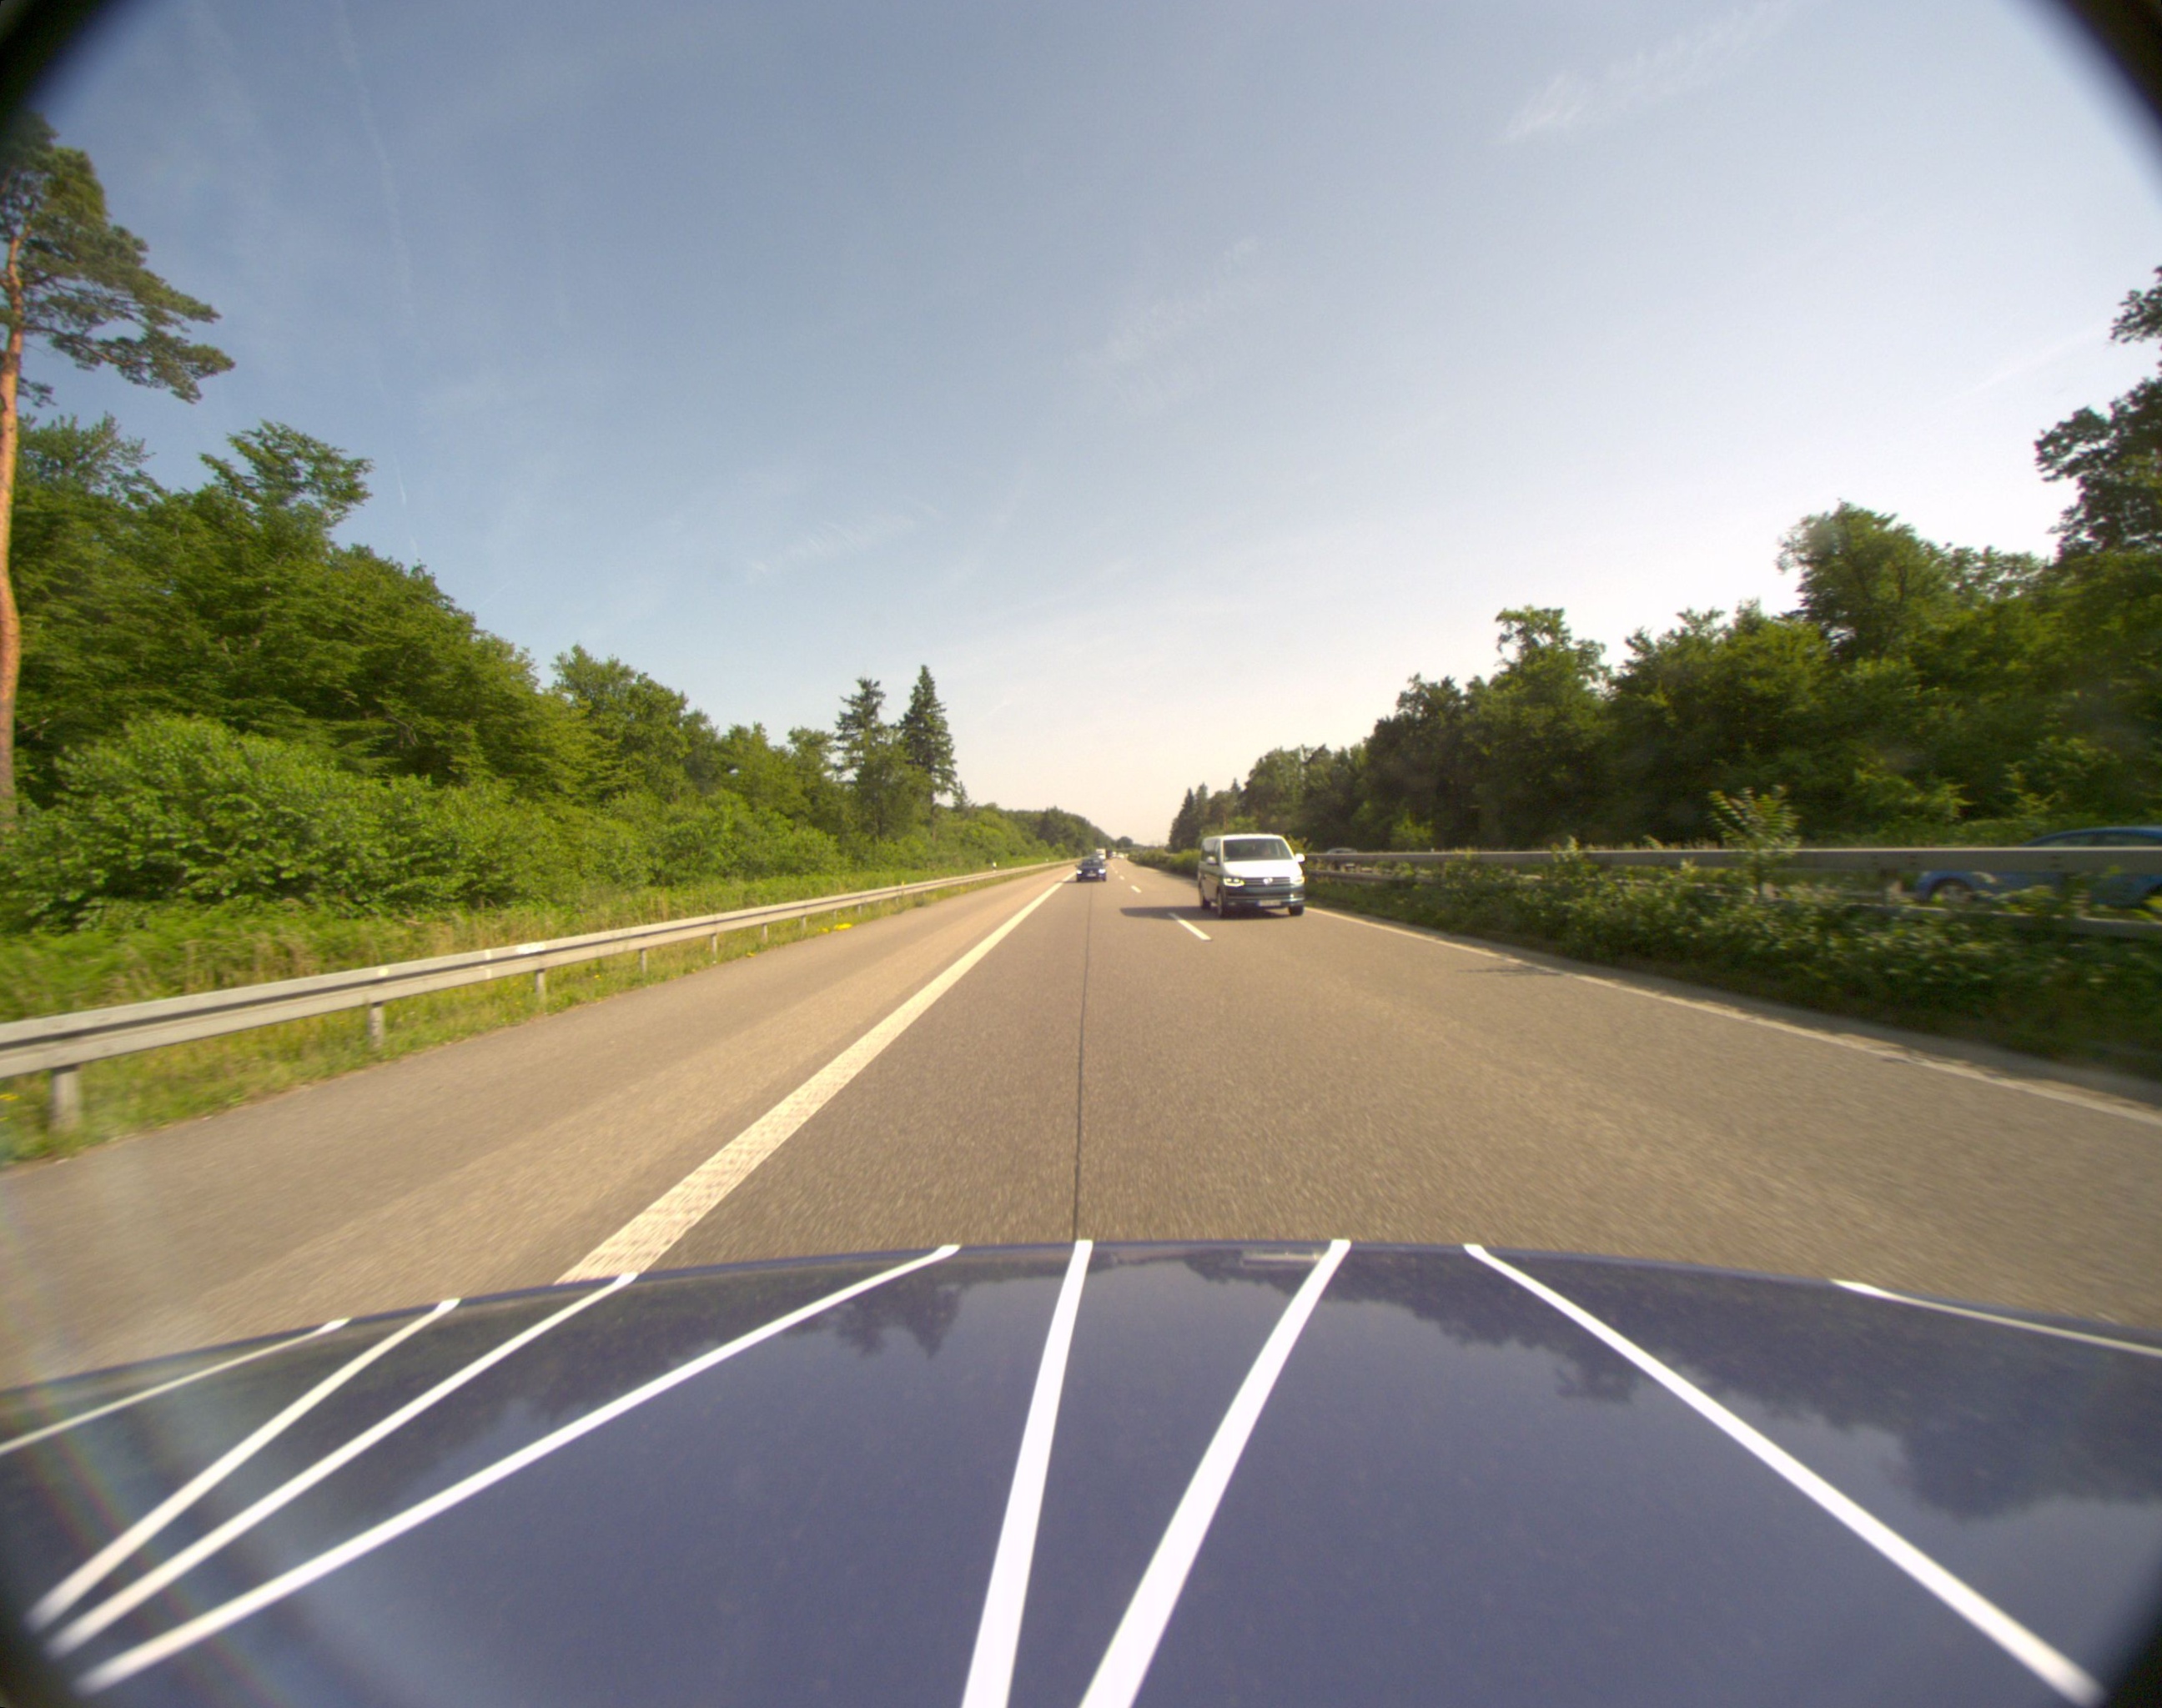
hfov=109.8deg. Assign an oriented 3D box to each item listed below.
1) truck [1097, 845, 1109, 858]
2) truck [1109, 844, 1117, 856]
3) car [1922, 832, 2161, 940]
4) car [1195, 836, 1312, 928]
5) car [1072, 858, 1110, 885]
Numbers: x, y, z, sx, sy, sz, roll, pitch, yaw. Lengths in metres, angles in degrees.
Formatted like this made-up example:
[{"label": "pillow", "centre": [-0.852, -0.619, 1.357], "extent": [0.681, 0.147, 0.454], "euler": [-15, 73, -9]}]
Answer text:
[{"label": "truck", "centre": [5.786, -0.671, 196.863], "extent": [2.694, 3.020, 10.373], "euler": [-2, 0, 3]}, {"label": "truck", "centre": [10.902, -1.363, 257.206], "extent": [2.694, 4.061, 12.367], "euler": [-2, 0, 3]}, {"label": "car", "centre": [15.280, 0.412, 11.163], "extent": [1.561, 1.421, 3.909], "euler": [-2, 0, 2]}, {"label": "car", "centre": [4.089, 0.594, 18.813], "extent": [1.912, 1.934, 4.707], "euler": [-2, 0, 2]}, {"label": "car", "centre": [0.593, 0.917, 40.839], "extent": [1.788, 1.285, 3.539], "euler": [-2, 0, 4]}]
